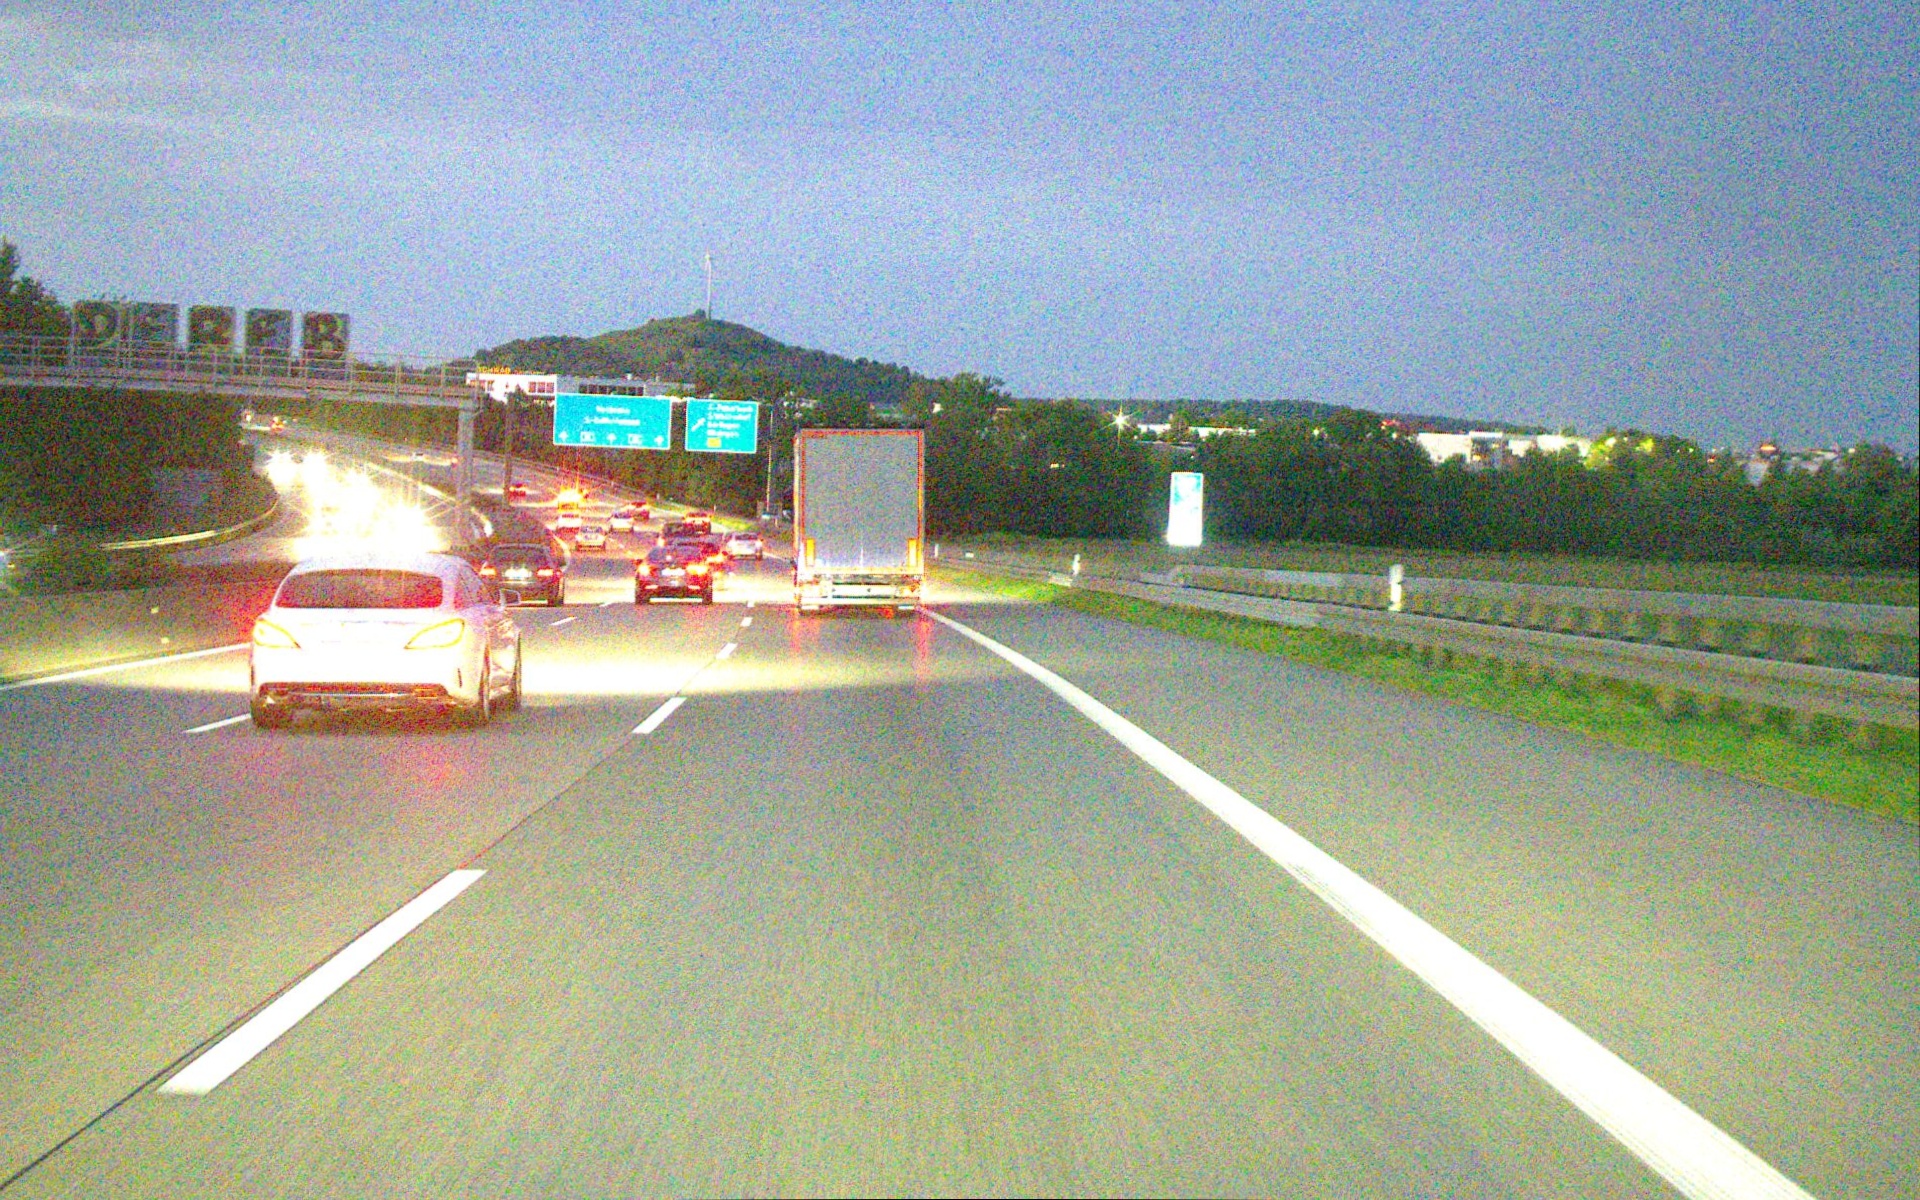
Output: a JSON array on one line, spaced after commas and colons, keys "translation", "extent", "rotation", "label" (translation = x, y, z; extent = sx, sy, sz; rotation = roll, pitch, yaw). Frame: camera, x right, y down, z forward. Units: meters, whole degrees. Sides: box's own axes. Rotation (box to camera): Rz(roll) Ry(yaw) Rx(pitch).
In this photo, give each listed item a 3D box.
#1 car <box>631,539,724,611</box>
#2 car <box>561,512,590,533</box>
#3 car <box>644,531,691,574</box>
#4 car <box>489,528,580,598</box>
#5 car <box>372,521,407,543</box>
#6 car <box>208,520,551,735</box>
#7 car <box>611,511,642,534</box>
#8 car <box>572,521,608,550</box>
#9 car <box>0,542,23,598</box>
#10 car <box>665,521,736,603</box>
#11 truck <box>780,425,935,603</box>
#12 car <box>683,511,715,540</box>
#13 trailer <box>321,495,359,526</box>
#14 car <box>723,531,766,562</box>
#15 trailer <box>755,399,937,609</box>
[{"translation": [-6.907, -0.634, 84.314], "extent": [2.065, 1.680, 4.577], "rotation": [1, 1, -3], "label": "car"}, {"translation": [-27.972, -5.638, 249.724], "extent": [1.993, 1.463, 4.001], "rotation": [1, 1, -7], "label": "car"}, {"translation": [-14.133, -2.287, 165.931], "extent": [1.993, 2.007, 4.001], "rotation": [1, 1, -8], "label": "car"}, {"translation": [-10.048, -0.890, 81.406], "extent": [1.761, 1.569, 4.577], "rotation": [1, 1, -3], "label": "car"}, {"translation": [-36.446, -4.335, 219.615], "extent": [1.689, 1.349, 4.898], "rotation": [1, 1, -4], "label": "car"}, {"translation": [-4.742, 0.177, 28.792], "extent": [1.906, 1.609, 4.803], "rotation": [1, 1, 2], "label": "car"}, {"translation": [-24.356, -5.682, 250.865], "extent": [1.993, 1.616, 4.001], "rotation": [1, 1, -9], "label": "car"}, {"translation": [-21.012, -3.666, 195.353], "extent": [1.993, 1.616, 4.001], "rotation": [1, 1, -6], "label": "car"}, {"translation": [-27.324, -0.842, 94.398], "extent": [1.993, 1.528, 5.007], "rotation": [1, 1, -2], "label": "car"}, {"translation": [-7.828, -1.153, 103.912], "extent": [1.993, 2.372, 4.001], "rotation": [1, 1, -3], "label": "car"}, {"translation": [-2.425, -2.032, 82.914], "extent": [3.550, 4.077, 6.151], "rotation": [1, 0, -1], "label": "truck"}, {"translation": [-18.545, -5.301, 244.287], "extent": [1.993, 1.971, 4.001], "rotation": [1, 1, -8], "label": "car"}, {"translation": [-41.655, -5.995, 231.094], "extent": [1.912, 1.996, 4.241], "rotation": [2, 1, -4], "label": "trailer"}, {"translation": [-10.986, -2.736, 174.908], "extent": [1.993, 1.529, 4.001], "rotation": [1, 1, -6], "label": "car"}, {"translation": [-2.358, -1.961, 75.641], "extent": [3.550, 4.102, 15.064], "rotation": [1, 0, -1], "label": "trailer"}]
